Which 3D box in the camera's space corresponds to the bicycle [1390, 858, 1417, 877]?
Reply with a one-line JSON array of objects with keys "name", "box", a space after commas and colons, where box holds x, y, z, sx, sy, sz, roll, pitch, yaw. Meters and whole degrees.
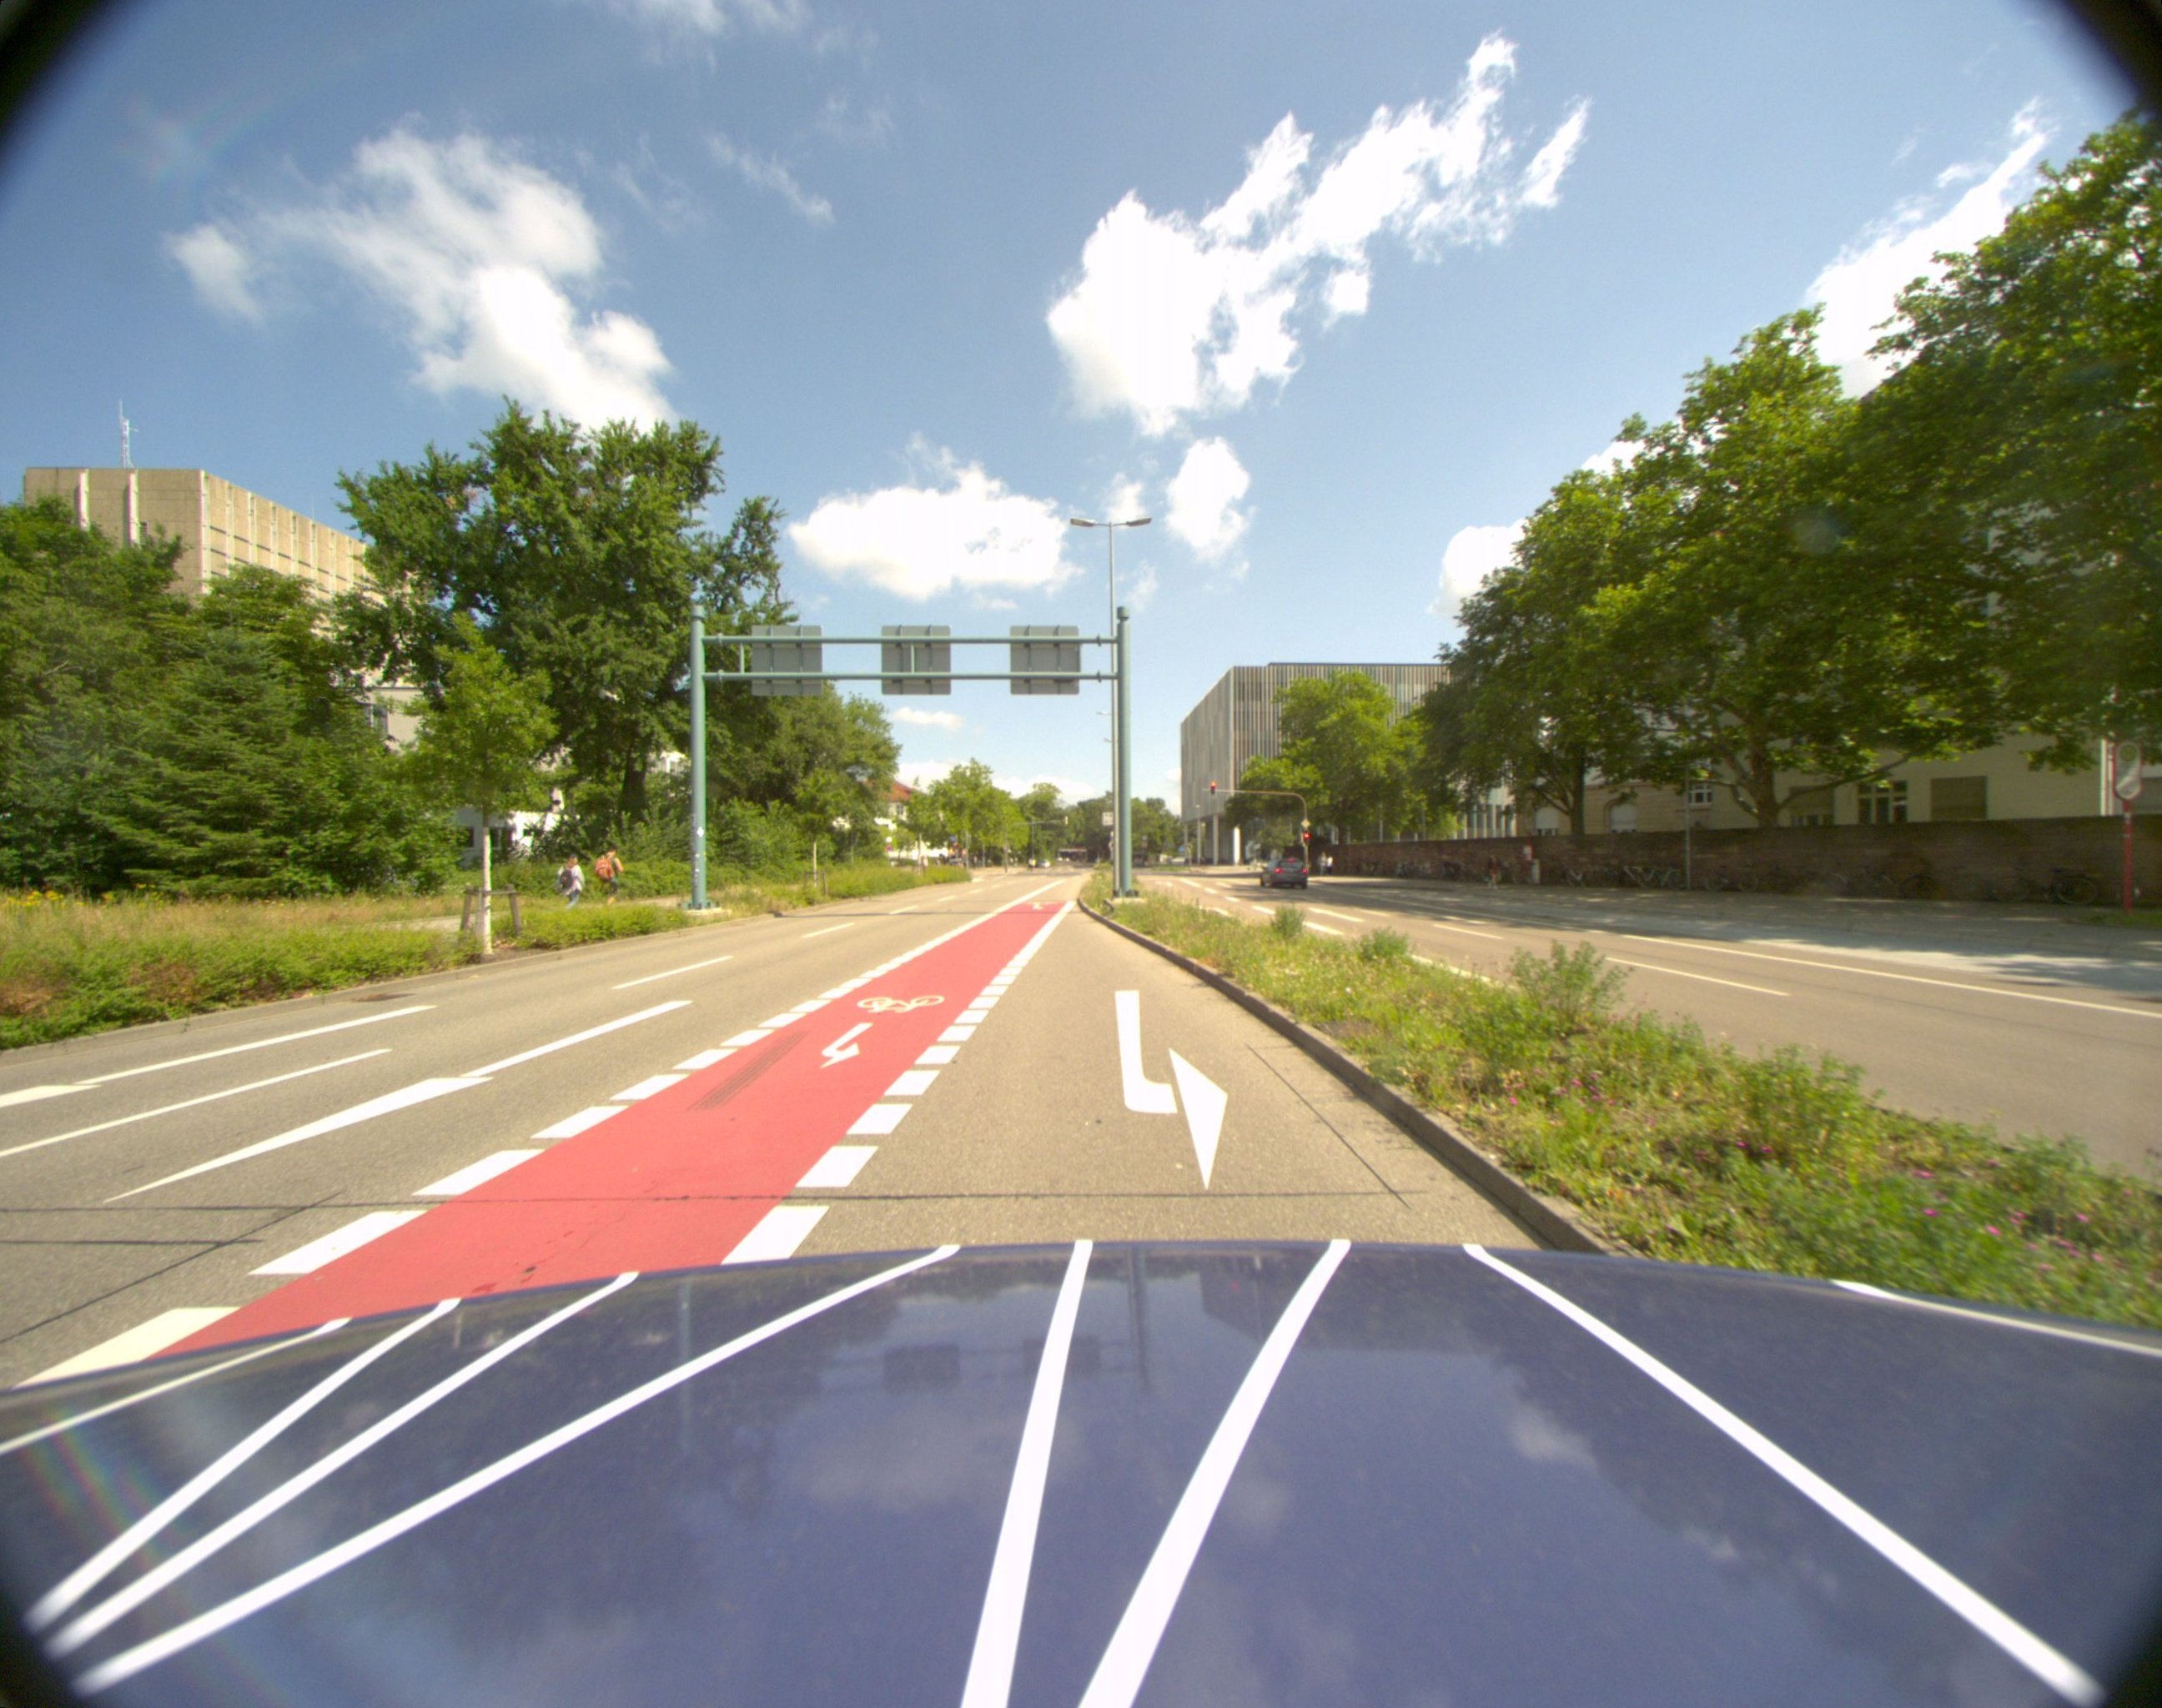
[{"name": "bicycle", "box": [19.032, 0.781, 44.822, 0.593, 1.042, 1.880, -1, 0, -7]}]

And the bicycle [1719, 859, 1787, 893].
[{"name": "bicycle", "box": [22.529, 0.726, 25.525, 0.631, 1.070, 1.651, -1, 0, -13]}]

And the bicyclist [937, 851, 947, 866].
[{"name": "bicyclist", "box": [-14.600, 0.463, 79.825, 0.916, 1.498, 0.614, 0, 1, 42]}]

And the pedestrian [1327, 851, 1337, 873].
[{"name": "pedestrian", "box": [18.028, 0.574, 54.597, 0.477, 1.531, 0.616, 0, 0, -3]}]

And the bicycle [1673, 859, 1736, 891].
[{"name": "bicycle", "box": [22.145, 0.721, 27.030, 0.584, 1.067, 1.754, -1, 0, -13]}]

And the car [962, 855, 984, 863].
[{"name": "car", "box": [-19.376, 0.862, 136.311, 4.000, 1.416, 1.756, 0, 0, -9]}]

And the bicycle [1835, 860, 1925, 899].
[{"name": "bicycle", "box": [23.329, 0.715, 22.219, 0.584, 1.067, 1.753, -1, 0, -15]}]

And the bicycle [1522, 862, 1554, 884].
[{"name": "bicycle", "box": [20.918, 0.858, 34.791, 0.368, 0.949, 1.400, -1, 0, -13]}]

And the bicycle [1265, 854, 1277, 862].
[{"name": "bicycle", "box": [25.651, 0.516, 102.612, 0.720, 1.090, 2.223, 0, 0, 39]}]

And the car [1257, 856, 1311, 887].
[{"name": "car", "box": [10.226, 0.855, 38.556, 1.704, 1.436, 4.146, 1, 0, 2]}]

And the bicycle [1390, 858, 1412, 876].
[{"name": "bicycle", "box": [19.439, 0.790, 46.212, 0.371, 1.042, 1.880, -1, 0, -7]}]

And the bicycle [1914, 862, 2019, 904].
[{"name": "bicycle", "box": [23.725, 0.754, 20.397, 0.584, 1.067, 1.753, -1, 0, -19]}]

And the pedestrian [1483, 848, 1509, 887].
[{"name": "pedestrian", "box": [17.643, 0.570, 32.327, 0.658, 1.600, 0.744, -2, 1, -6]}]

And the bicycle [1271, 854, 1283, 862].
[{"name": "bicycle", "box": [26.291, 0.515, 102.098, 0.720, 1.090, 2.223, 0, 0, 39]}]

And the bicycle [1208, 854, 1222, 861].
[{"name": "bicycle", "box": [22.517, 0.638, 127.512, 2.217, 1.090, 0.722, 0, 0, -6]}]

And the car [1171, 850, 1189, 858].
[{"name": "car", "box": [22.492, -0.042, 172.721, 3.997, 1.676, 1.646, 0, 0, 1]}]

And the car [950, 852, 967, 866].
[{"name": "car", "box": [-18.185, 0.670, 112.713, 1.999, 2.002, 4.900, 0, 0, -4]}]

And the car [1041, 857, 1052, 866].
[{"name": "car", "box": [-5.844, 1.270, 127.930, 1.709, 1.321, 3.999, 2, 0, -3]}]

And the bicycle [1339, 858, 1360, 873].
[{"name": "bicycle", "box": [18.610, 0.787, 52.720, 0.632, 1.042, 1.880, -1, 0, -7]}]

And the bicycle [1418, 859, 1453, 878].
[{"name": "bicycle", "box": [19.755, 0.779, 42.369, 0.594, 1.042, 1.877, -1, 0, -23]}]

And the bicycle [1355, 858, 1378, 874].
[{"name": "bicycle", "box": [18.969, 0.771, 50.467, 0.632, 1.042, 1.880, -1, 0, -7]}]

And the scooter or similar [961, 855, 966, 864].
[{"name": "scooter or similar", "box": [-14.884, 0.753, 96.401, 0.348, 1.122, 1.168, 0, 0, 1]}]

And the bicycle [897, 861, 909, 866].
[{"name": "bicycle", "box": [-26.528, 1.402, 112.975, 1.673, 0.785, 0.626, 0, 0, -7]}]

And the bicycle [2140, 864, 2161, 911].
[{"name": "bicycle", "box": [24.883, 0.760, 16.717, 0.584, 1.067, 1.753, -1, 0, -19]}]

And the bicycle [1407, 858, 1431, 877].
[{"name": "bicycle", "box": [19.678, 0.781, 44.271, 0.371, 1.042, 1.880, -1, 0, -7]}]

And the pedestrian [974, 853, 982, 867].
[{"name": "pedestrian", "box": [-12.314, 0.726, 90.944, 0.741, 1.640, 0.640, 0, 0, 14]}]

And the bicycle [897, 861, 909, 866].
[{"name": "bicycle", "box": [-26.608, 1.402, 113.649, 1.673, 0.785, 0.626, 0, 0, -7]}]

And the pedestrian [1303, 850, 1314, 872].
[{"name": "pedestrian", "box": [17.400, 0.535, 58.117, 0.562, 1.641, 0.727, 0, 0, -3]}]

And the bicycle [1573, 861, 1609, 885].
[{"name": "bicycle", "box": [21.461, 0.789, 32.005, 0.368, 0.949, 1.400, -1, 0, -13]}]

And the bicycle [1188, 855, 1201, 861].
[{"name": "bicycle", "box": [21.267, 0.729, 142.418, 2.217, 1.090, 0.722, 0, 0, -6]}]

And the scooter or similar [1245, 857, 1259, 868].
[{"name": "scooter or similar", "box": [17.946, 0.910, 79.671, 1.504, 1.150, 0.502, 0, 0, -25]}]

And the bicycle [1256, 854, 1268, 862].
[{"name": "bicycle", "box": [24.772, 0.516, 104.001, 0.720, 1.090, 2.223, 0, 0, 39]}]

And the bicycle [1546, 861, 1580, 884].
[{"name": "bicycle", "box": [21.176, 0.805, 33.406, 0.368, 0.949, 1.400, -1, 0, -13]}]

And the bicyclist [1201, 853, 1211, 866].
[{"name": "bicyclist", "box": [14.234, 0.672, 86.770, 0.944, 1.456, 0.633, 0, 0, 34]}]

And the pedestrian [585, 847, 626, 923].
[{"name": "pedestrian", "box": [-11.553, 0.741, 18.472, 0.568, 1.791, 0.639, -1, 0, 3]}]

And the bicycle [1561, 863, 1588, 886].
[{"name": "bicycle", "box": [20.761, 0.849, 31.962, 0.367, 0.949, 1.626, -1, 0, 11]}]

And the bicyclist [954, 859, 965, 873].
[{"name": "bicyclist", "box": [-11.568, 1.121, 72.363, 0.932, 1.341, 0.445, -1, 1, -11]}]

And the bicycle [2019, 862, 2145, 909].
[{"name": "bicycle", "box": [24.279, 0.745, 18.473, 0.584, 1.067, 1.753, -1, 0, -19]}]

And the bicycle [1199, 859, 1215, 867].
[{"name": "bicycle", "box": [14.365, 1.050, 86.682, 1.771, 0.887, 0.639, -1, 0, 34]}]

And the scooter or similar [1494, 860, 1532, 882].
[{"name": "scooter or similar", "box": [20.690, 0.807, 36.442, 0.582, 1.042, 1.880, -1, 0, -7]}]

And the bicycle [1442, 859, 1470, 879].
[{"name": "bicycle", "box": [19.820, 0.770, 40.174, 0.374, 1.042, 1.880, -1, 0, -7]}]

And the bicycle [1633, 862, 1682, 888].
[{"name": "bicycle", "box": [21.919, 0.768, 28.903, 0.371, 0.949, 1.625, -1, 0, -13]}]

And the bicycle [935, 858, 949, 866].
[{"name": "bicycle", "box": [-14.606, 0.809, 79.828, 1.510, 0.828, 0.621, 0, 0, 42]}]

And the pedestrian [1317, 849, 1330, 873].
[{"name": "pedestrian", "box": [17.352, 0.496, 54.363, 0.642, 1.641, 0.731, 0, 0, -3]}]

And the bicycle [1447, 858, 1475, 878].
[{"name": "bicycle", "box": [20.176, 0.726, 40.375, 0.395, 1.042, 1.880, -1, 0, -7]}]

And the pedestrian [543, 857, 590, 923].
[{"name": "pedestrian", "box": [-12.466, 0.865, 18.437, 0.624, 1.571, 0.708, -1, 0, 3]}]

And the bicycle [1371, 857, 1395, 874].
[{"name": "bicycle", "box": [19.142, 0.748, 48.228, 0.566, 1.042, 1.880, -1, 0, -7]}]

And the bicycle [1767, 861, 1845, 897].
[{"name": "bicycle", "box": [22.892, 0.764, 24.025, 0.584, 1.067, 1.754, -1, 0, -13]}]

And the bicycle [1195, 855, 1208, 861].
[{"name": "bicycle", "box": [22.069, 0.773, 139.574, 2.217, 1.090, 0.722, 0, 0, -6]}]

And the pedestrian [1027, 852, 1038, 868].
[{"name": "pedestrian", "box": [-5.555, 0.737, 87.192, 0.700, 1.815, 0.944, 3, 1, 30]}]

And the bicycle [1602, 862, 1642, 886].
[{"name": "bicycle", "box": [21.698, 0.793, 30.511, 0.368, 0.949, 1.400, -1, 0, -13]}]

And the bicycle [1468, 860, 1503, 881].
[{"name": "bicycle", "box": [20.404, 0.823, 38.360, 0.582, 1.042, 1.880, -1, 0, -7]}]
